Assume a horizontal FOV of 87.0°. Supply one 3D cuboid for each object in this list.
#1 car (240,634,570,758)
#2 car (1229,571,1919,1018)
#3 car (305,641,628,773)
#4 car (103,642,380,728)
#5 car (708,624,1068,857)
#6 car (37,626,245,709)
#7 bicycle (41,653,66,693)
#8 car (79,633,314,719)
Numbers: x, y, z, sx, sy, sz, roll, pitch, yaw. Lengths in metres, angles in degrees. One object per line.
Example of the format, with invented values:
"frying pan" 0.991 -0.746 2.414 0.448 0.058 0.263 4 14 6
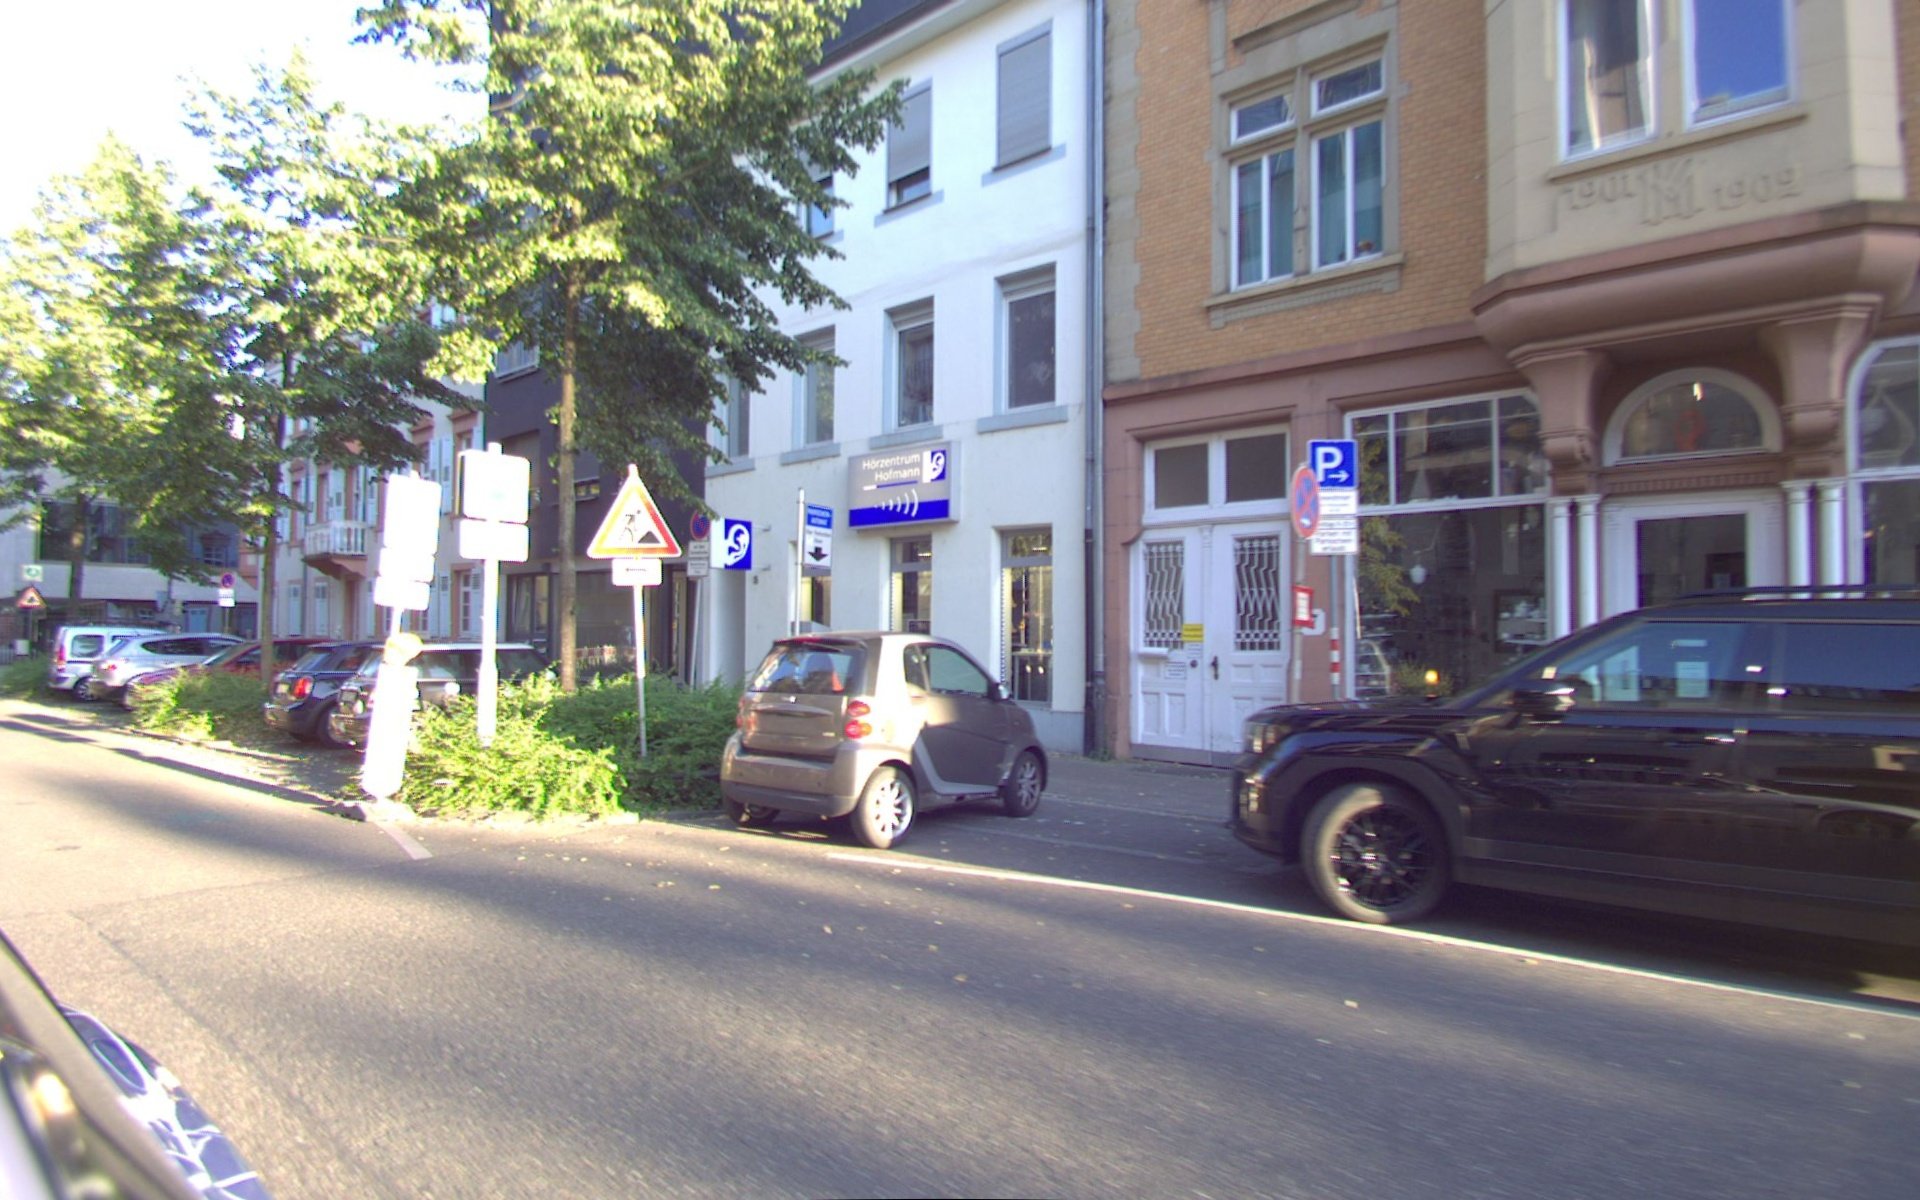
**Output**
"car" -7.995 1.287 14.827 1.856 1.529 3.852 -2 -2 41
"car" 3.934 0.810 5.007 4.693 1.742 1.887 -1 -4 36
"car" -6.229 1.254 13.003 1.686 1.402 3.359 -2 -2 43
"car" -14.193 1.601 20.222 1.759 1.528 4.168 -2 -3 37
"car" -0.479 1.041 8.269 1.569 1.532 2.669 -3 -5 37
"car" -20.074 1.601 24.901 1.700 1.864 3.768 -2 -3 44
"bicycle" -26.475 2.119 29.541 1.712 1.116 0.391 -2 -1 43
"car" -16.247 1.541 21.648 1.741 1.597 3.783 -1 -1 43
